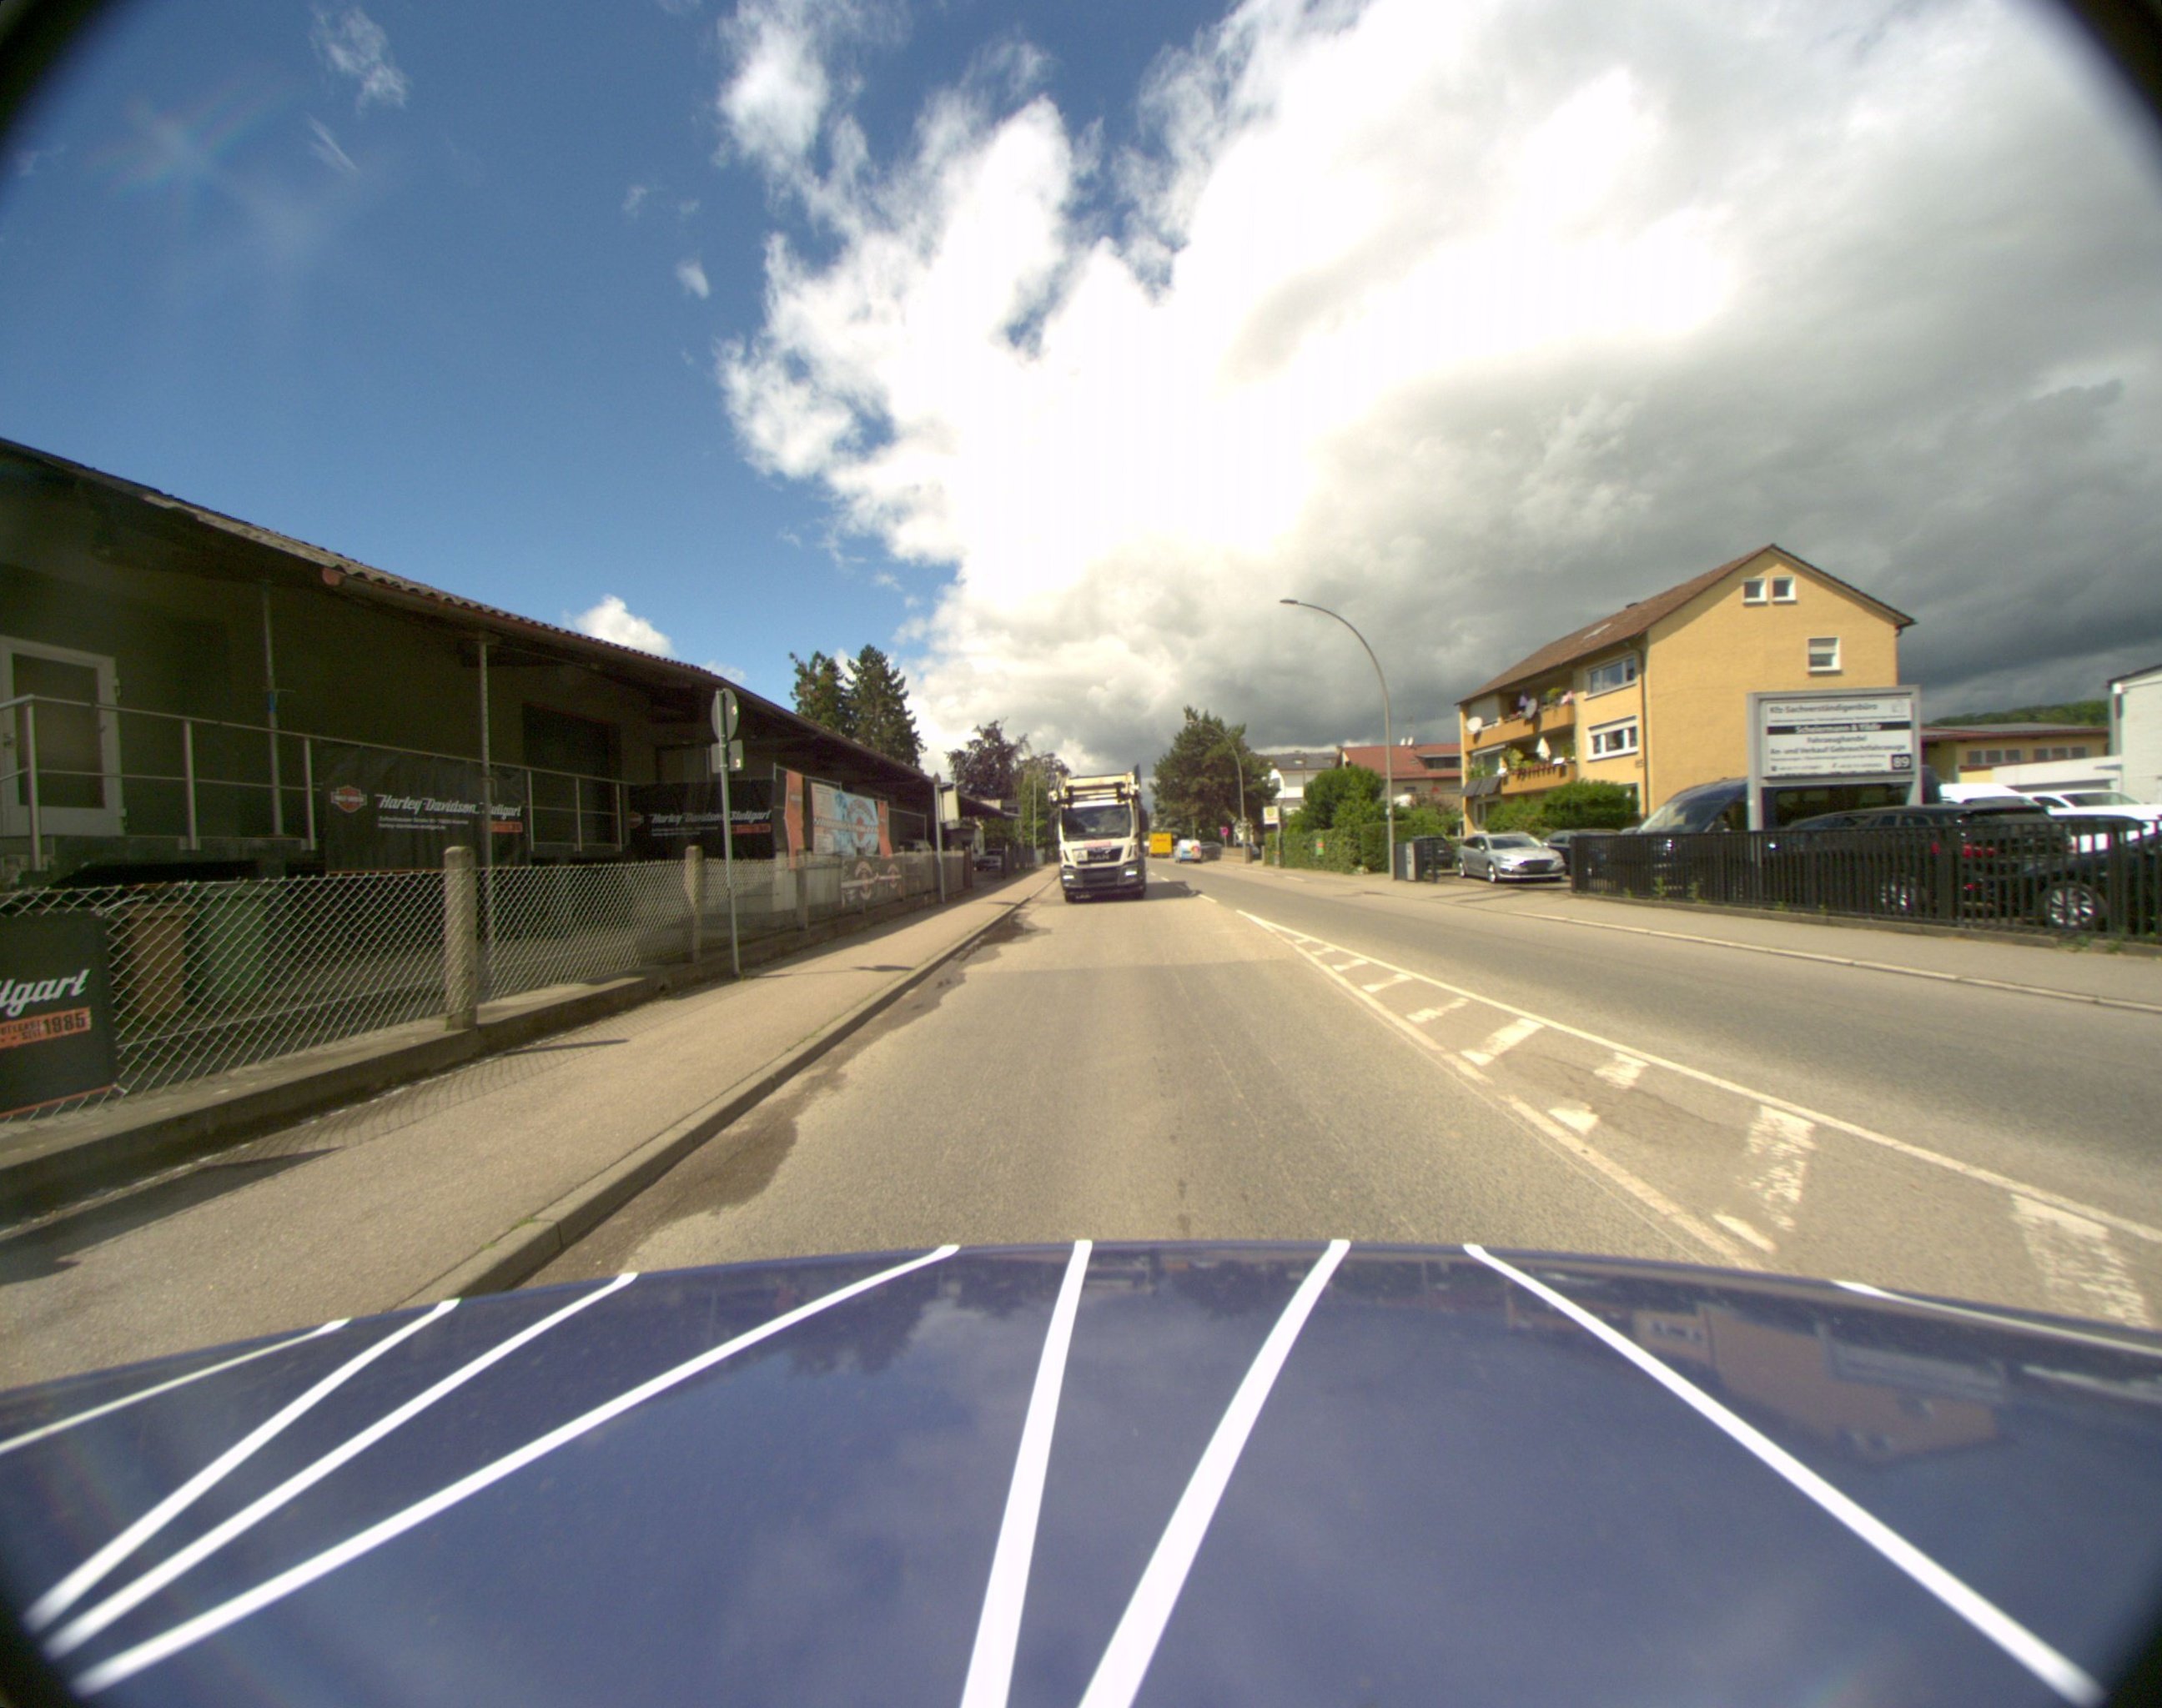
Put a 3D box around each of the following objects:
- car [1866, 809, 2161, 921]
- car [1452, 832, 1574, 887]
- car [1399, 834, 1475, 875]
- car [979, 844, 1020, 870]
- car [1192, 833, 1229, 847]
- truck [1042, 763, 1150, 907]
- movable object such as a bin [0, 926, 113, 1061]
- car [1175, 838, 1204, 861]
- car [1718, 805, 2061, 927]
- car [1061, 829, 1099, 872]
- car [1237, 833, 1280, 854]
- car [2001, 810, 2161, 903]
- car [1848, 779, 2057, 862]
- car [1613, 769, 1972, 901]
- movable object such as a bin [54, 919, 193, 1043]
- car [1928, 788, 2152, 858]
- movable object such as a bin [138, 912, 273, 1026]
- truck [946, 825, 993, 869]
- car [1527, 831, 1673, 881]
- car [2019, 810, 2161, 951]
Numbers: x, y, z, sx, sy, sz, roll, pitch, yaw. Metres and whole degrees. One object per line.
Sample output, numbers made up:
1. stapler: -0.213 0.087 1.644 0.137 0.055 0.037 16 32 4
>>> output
1. car: 15.294 0.081 11.970 1.818 1.451 4.000 -2 1 3
2. car: 13.079 0.107 23.325 1.887 1.451 4.352 -3 1 11
3. car: 15.765 -0.036 33.819 1.830 1.656 3.522 -2 1 3
4. car: -5.408 0.155 50.790 1.862 1.521 5.202 -2 1 3
5. car: 17.883 -1.945 105.231 4.734 1.669 2.218 -2 1 1
6. truck: 0.832 -0.619 25.439 2.663 3.790 9.817 -2 1 6
7. movable object such as a bin: -7.949 1.048 5.787 0.483 0.925 0.474 -2 2 1
8. car: 8.627 -0.385 60.710 1.729 1.671 3.999 -2 1 0
9. car: 12.706 0.131 12.331 1.813 1.612 3.621 -2 1 3
10. car: 0.021 -0.273 48.876 2.091 2.519 5.202 -2 1 3
11. car: 17.983 -1.031 77.071 2.003 2.002 3.990 -3 2 -30
12. car: 17.554 0.016 11.824 1.738 1.405 4.000 -2 1 3
13. car: 26.750 -0.992 23.569 1.998 2.256 4.000 -2 1 3
14. car: 14.681 -0.377 15.980 5.363 2.371 2.104 -2 2 4
15. movable object such as a bin: -7.935 1.037 6.315 0.483 0.925 0.474 -2 2 1
16. car: 29.455 -0.926 23.583 1.998 1.915 4.000 -2 1 3
17. movable object such as a bin: -7.922 1.024 6.902 0.483 0.925 0.584 -2 2 1
18. truck: -7.632 -0.494 52.642 2.091 2.812 5.202 -2 1 3
19. car: 15.836 0.020 23.473 1.884 1.334 4.000 -2 1 3
20. car: 12.346 0.276 7.255 1.864 1.474 4.043 -2 1 2
